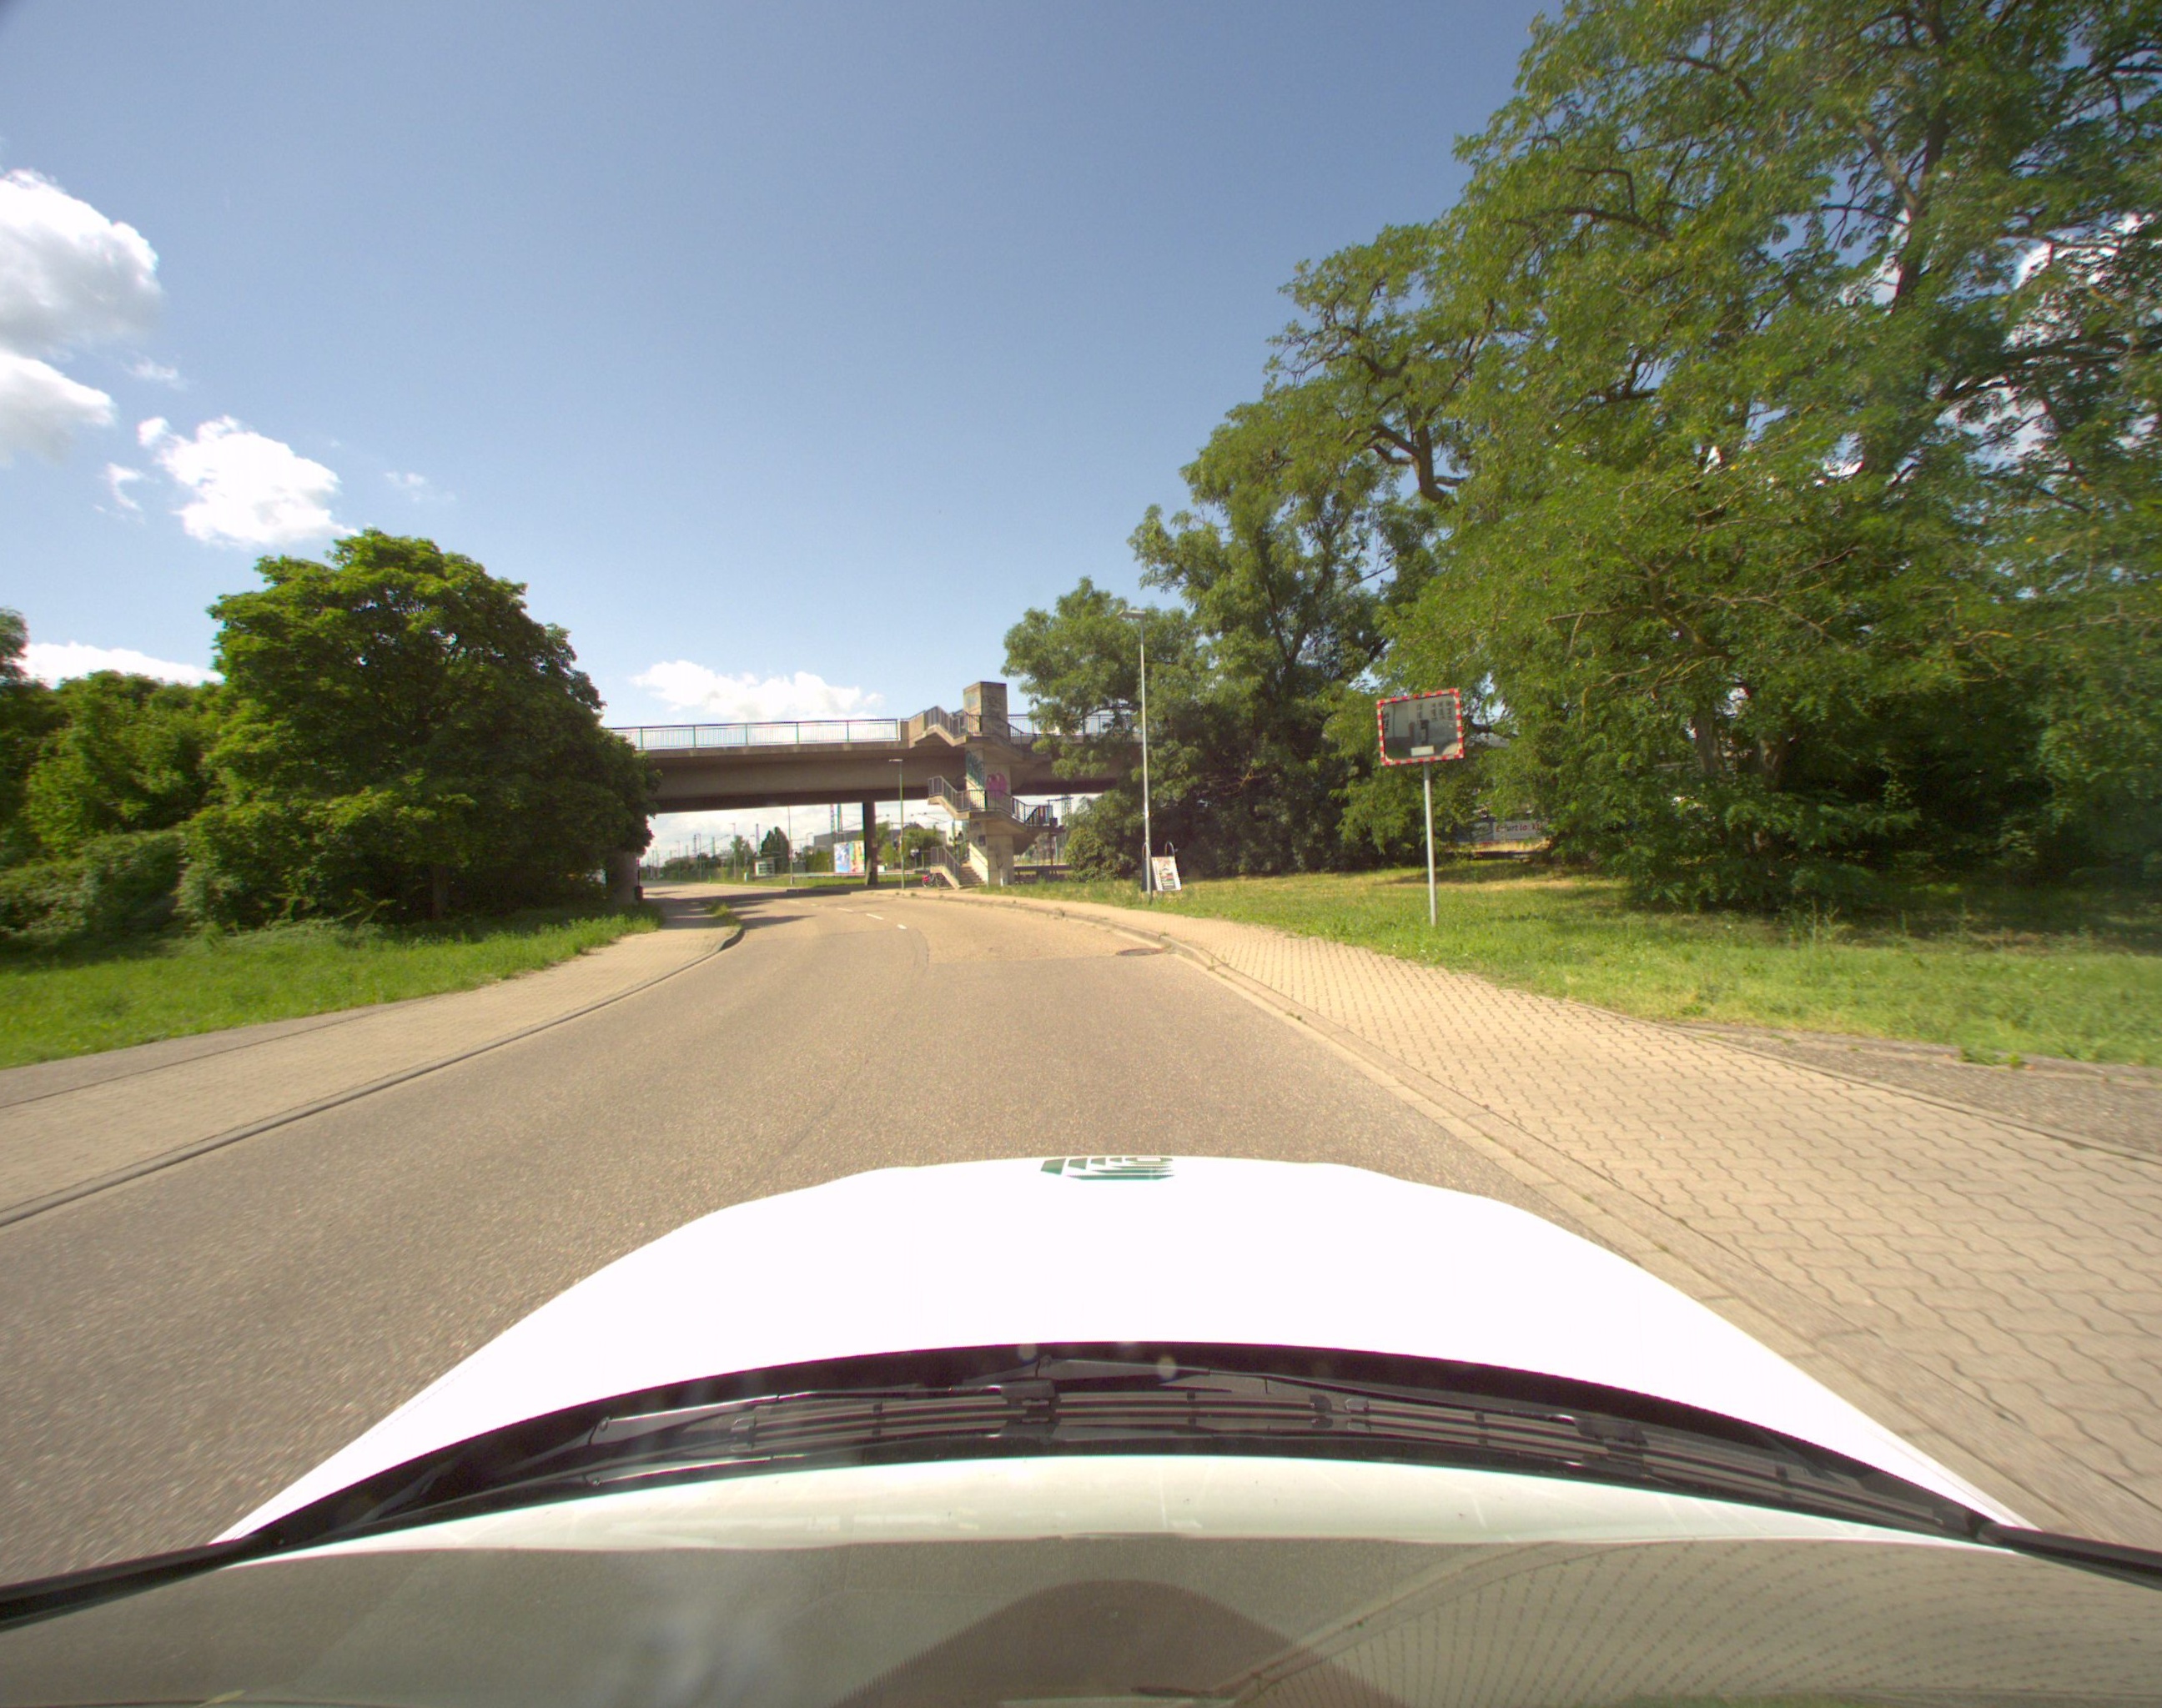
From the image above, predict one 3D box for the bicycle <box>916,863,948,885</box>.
[{"bbox_3d":[-8.233,1.109,44.958,0.648,1.108,2.165,-4,1,-41],"label":"bicycle"}]
